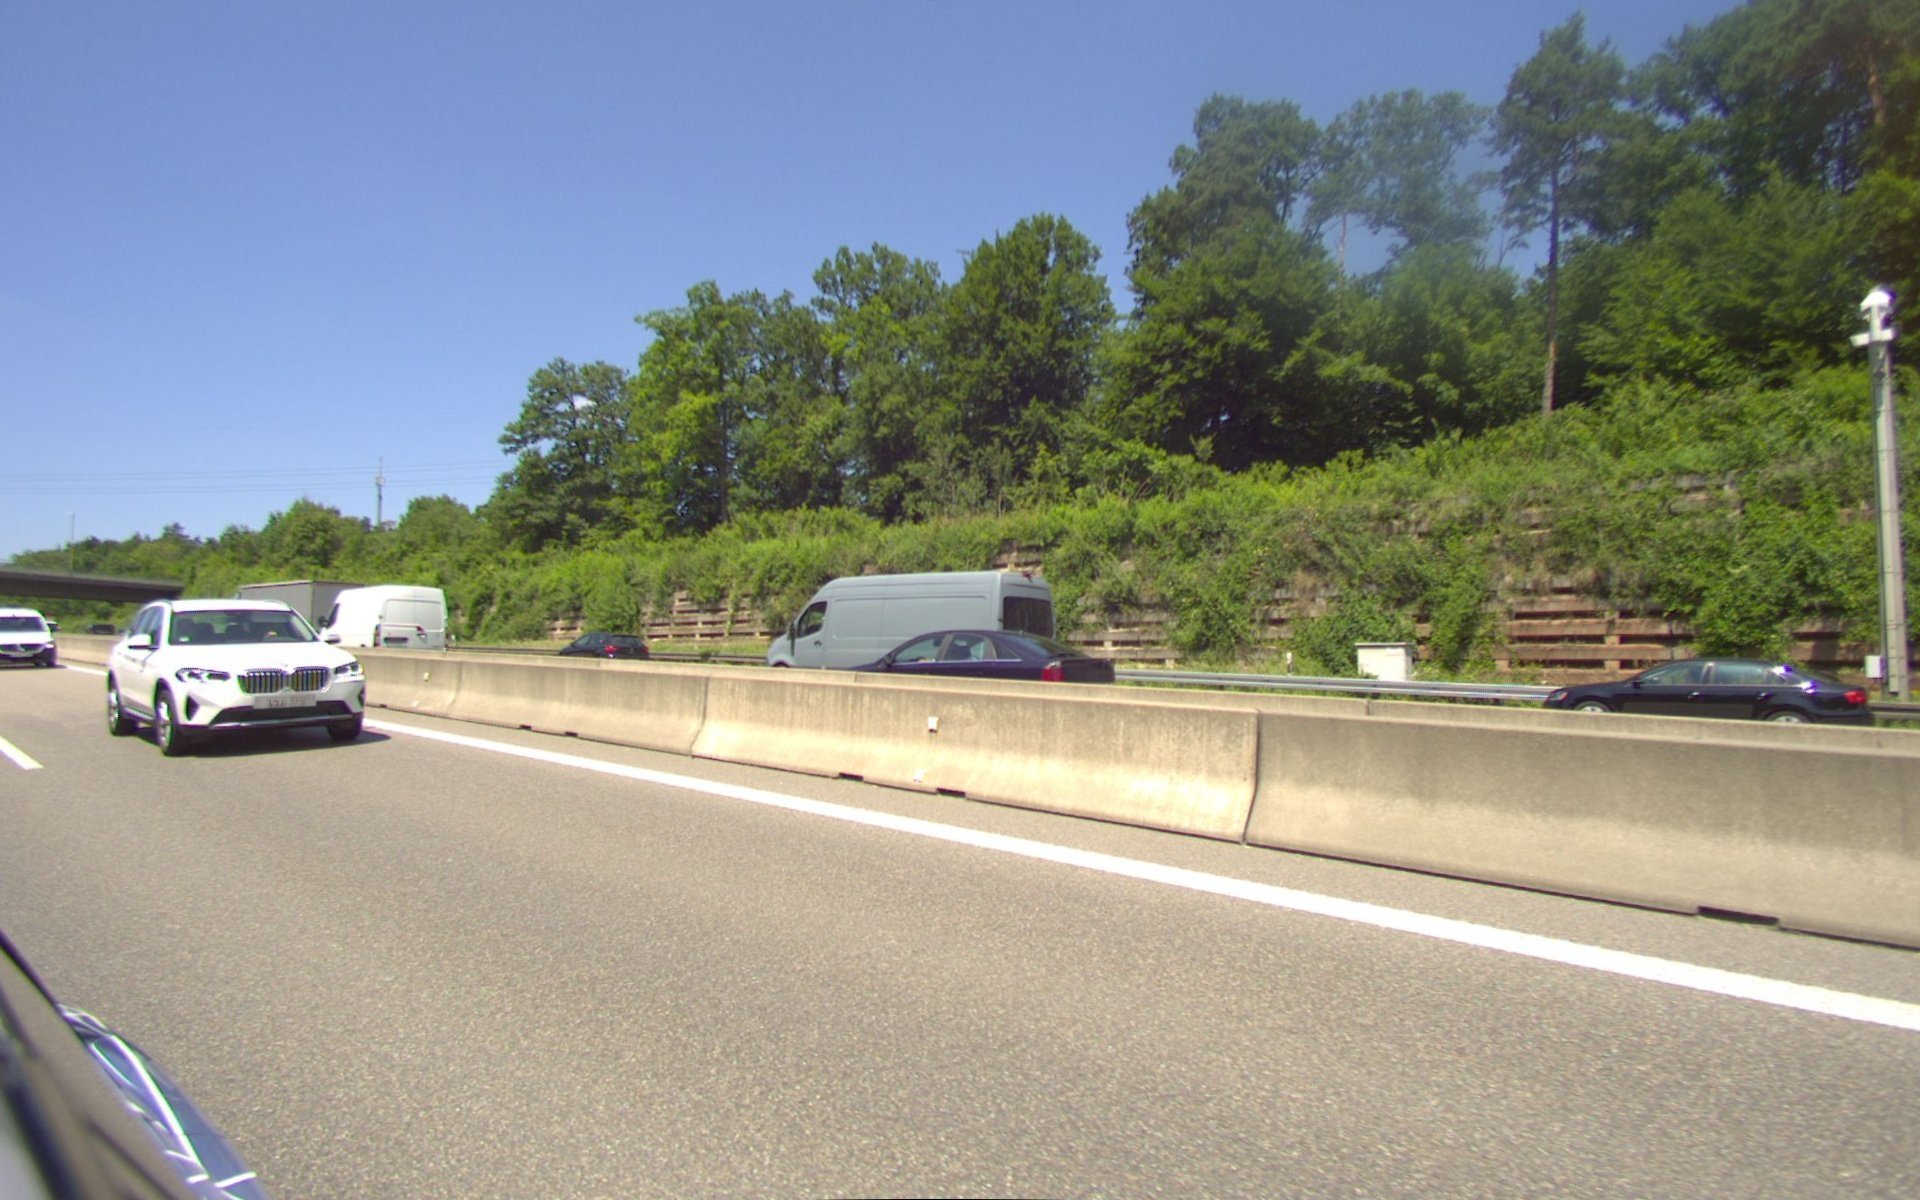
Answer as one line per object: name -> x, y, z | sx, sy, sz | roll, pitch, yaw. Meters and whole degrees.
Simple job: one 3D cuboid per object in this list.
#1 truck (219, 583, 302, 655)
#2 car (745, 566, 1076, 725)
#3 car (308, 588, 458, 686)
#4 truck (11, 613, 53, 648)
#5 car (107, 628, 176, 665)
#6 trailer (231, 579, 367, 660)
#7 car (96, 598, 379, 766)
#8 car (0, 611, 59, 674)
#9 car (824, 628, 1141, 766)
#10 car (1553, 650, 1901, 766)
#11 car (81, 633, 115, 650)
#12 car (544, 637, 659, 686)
truck -> -43.514, 1.157, 62.902 | 5.946, 4.217, 2.904 | -1, -1, 41
car -> -1.235, 0.877, 20.450 | 7.134, 2.704, 2.216 | -1, -3, 41
car -> -17.402, 1.100, 30.389 | 5.338, 2.704, 2.216 | -1, -3, 41
truck -> -121.373, 3.895, 132.301 | 13.081, 4.424, 2.593 | -1, 0, 41
car -> -40.484, 2.282, 50.024 | 4.279, 1.713, 1.919 | -1, -3, 41
trailer -> -38.408, 1.088, 58.406 | 14.178, 4.217, 2.904 | -1, -1, 41
car -> -8.782, 0.852, 12.156 | 4.366, 1.656, 1.826 | -1, -1, 41
car -> -29.026, 1.255, 30.811 | 4.501, 1.788, 1.972 | -1, 0, 43
car -> 0.199, 1.220, 13.999 | 4.279, 1.617, 1.714 | -1, -3, 41
car -> 12.708, 1.696, 17.018 | 4.462, 1.617, 1.919 | -1, -3, 41
car -> -85.395, 4.083, 100.218 | 4.279, 1.638, 1.919 | -1, -3, 41
car -> -12.432, 2.091, 35.023 | 4.279, 1.550, 1.876 | -1, -3, 41
